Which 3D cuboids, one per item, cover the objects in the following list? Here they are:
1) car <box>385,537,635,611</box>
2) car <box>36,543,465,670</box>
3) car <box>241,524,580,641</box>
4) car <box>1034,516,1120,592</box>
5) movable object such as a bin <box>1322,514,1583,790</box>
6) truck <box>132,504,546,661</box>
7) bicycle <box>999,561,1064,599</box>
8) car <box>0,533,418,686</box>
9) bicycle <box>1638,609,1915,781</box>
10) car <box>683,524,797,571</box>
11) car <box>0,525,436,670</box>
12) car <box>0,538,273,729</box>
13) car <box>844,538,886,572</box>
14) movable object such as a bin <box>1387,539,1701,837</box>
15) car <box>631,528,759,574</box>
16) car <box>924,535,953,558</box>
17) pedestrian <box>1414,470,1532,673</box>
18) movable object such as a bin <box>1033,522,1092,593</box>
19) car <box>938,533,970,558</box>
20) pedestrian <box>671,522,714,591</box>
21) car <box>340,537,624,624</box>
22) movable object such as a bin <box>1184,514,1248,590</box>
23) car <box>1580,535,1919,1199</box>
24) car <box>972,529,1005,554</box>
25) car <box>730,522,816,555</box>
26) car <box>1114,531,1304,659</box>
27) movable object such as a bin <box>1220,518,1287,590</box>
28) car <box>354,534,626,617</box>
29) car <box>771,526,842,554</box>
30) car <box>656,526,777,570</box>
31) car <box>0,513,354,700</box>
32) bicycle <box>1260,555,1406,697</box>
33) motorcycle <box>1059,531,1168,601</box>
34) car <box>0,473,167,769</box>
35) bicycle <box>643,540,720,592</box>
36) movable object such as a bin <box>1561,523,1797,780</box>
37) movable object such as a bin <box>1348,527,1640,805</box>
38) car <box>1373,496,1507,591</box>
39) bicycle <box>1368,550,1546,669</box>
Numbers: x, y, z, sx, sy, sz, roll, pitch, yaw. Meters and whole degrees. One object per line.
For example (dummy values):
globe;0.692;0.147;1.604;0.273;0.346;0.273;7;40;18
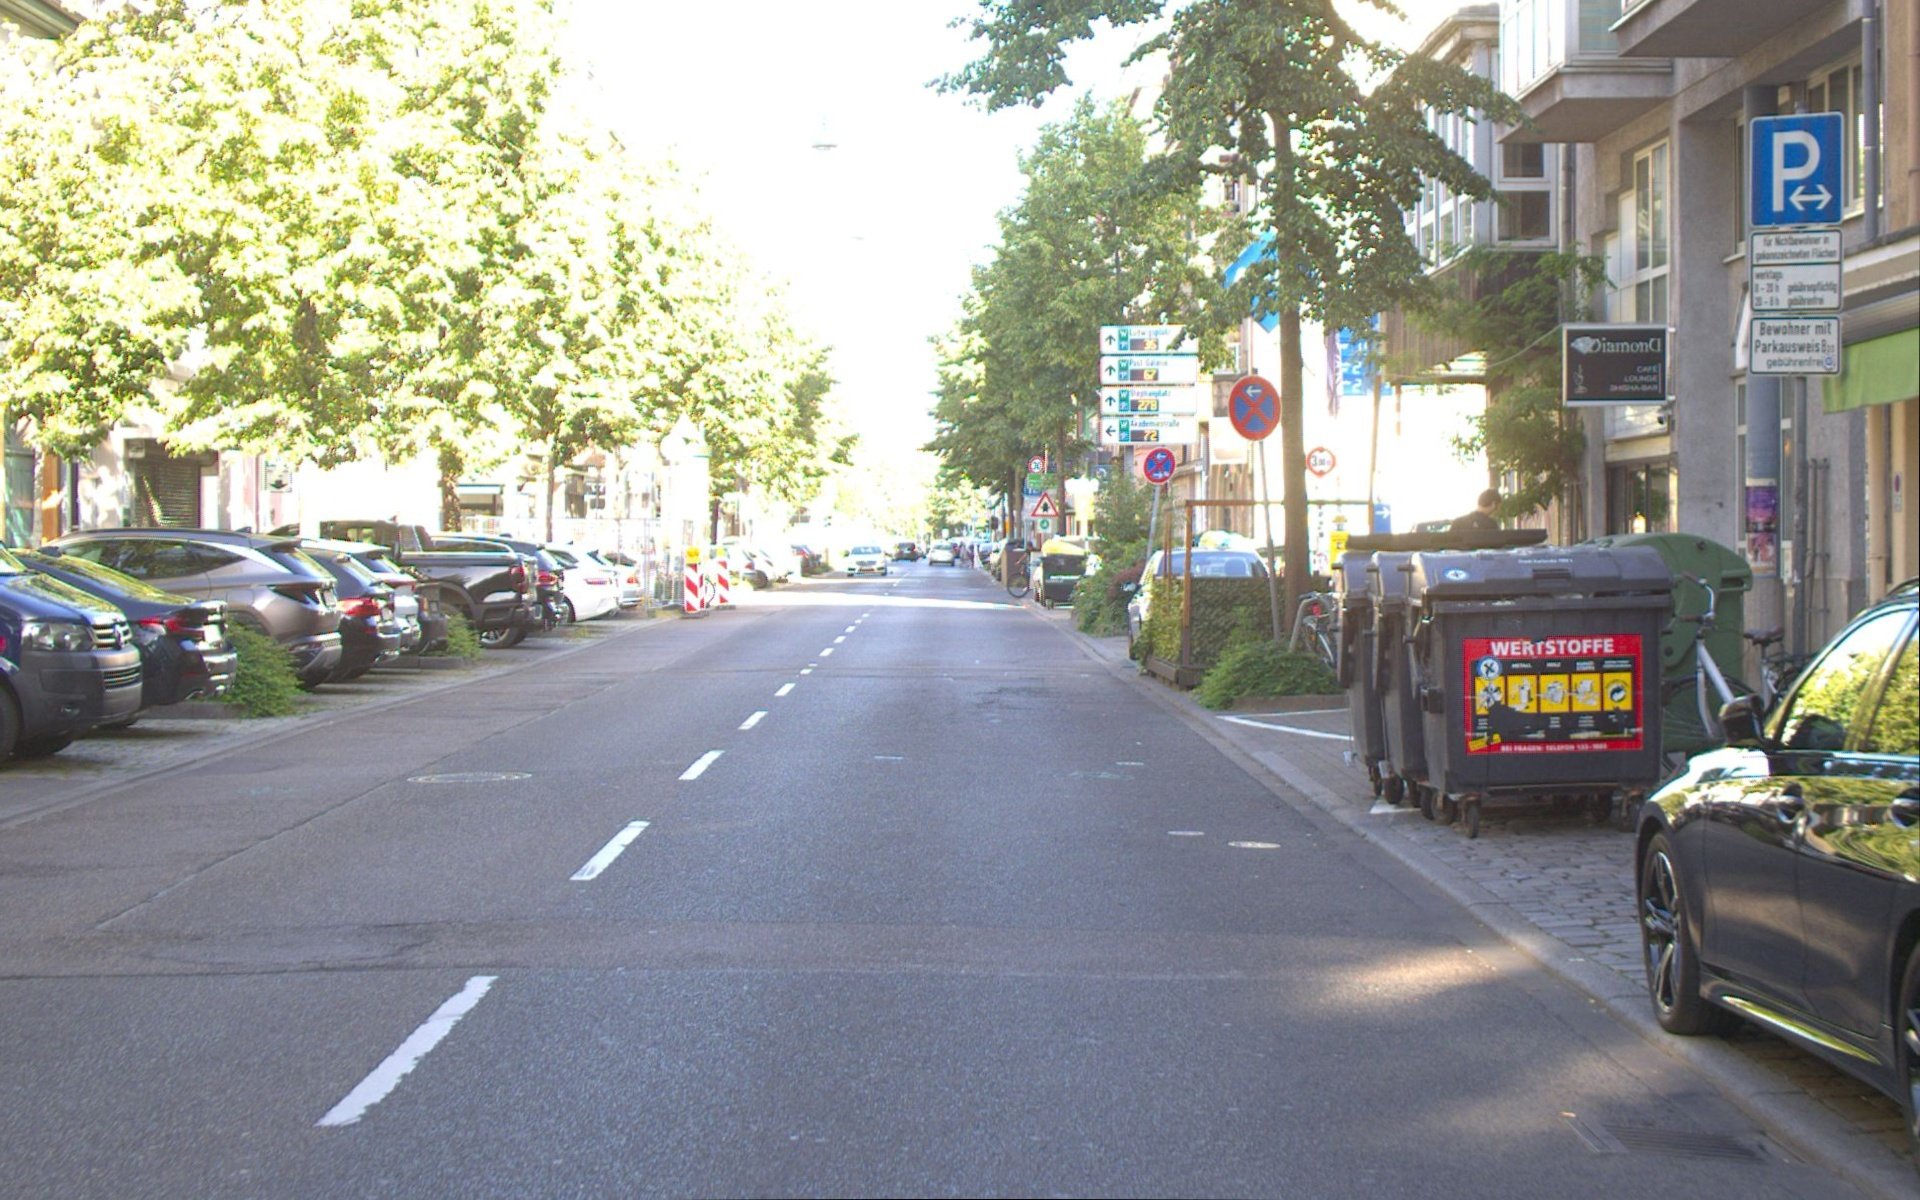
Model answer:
car;-8.668;-0.511;66.506;4.680;1.407;1.808;0;1;-3
car;-8.331;0.063;40.615;4.680;1.458;1.808;0;1;1
car;-8.066;-0.271;50.739;4.680;1.687;1.808;0;1;1
car;2.785;-1.113;82.497;1.822;1.673;4.601;-3;1;0
movable object such as a bin;2.842;0.280;19.986;1.330;1.537;1.146;-1;1;0
truck;-8.142;-0.247;45.438;5.084;1.931;2.000;-1;1;-1
bicycle;2.093;-0.592;100.173;0.768;1.055;1.951;0;2;43
car;-8.028;0.077;35.112;4.680;1.514;1.808;0;1;1
bicycle;4.364;0.496;18.485;0.568;0.869;1.642;-2;0;-23
car;-8.259;-1.983;129.137;3.987;1.688;2.000;-1;1;5
car;-8.296;-0.040;38.117;4.680;1.566;1.808;0;1;1
car;-7.881;0.240;26.972;4.645;1.454;1.684;0;1;0
car;-4.364;-2.082;158.020;1.802;1.430;4.410;-3;1;-1
movable object such as a bin;2.976;0.428;17.661;1.399;1.449;1.146;-1;1;0
car;-8.502;-1.576;110.440;3.987;1.385;2.000;-1;1;-1
car;-1.383;-3.426;220.385;1.792;1.406;4.000;-1;1;-1
pedestrian;4.959;-0.280;33.222;0.926;1.929;0.760;0;1;25
movable object such as a bin;2.335;-0.972;78.182;1.143;1.556;1.459;-1;1;8
car;-0.407;-3.396;213.874;1.822;1.386;4.301;-3;1;-1
pedestrian;-6.616;-1.084;84.965;0.792;1.701;0.767;0;1;-33
car;-8.118;-0.343;58.700;4.680;1.460;1.808;0;1;-3
movable object such as a bin;5.621;-1.068;75.607;1.205;1.622;1.498;-1;1;-2
car;3.043;0.577;9.101;1.822;1.467;4.912;-3;1;0
car;1.781;-3.659;215.374;1.993;1.503;4.000;0;1;-1
car;-8.820;-2.923;162.667;3.987;1.494;2.000;-1;1;-1
car;3.005;-0.105;42.388;1.901;1.407;4.647;-2;1;-1
movable object such as a bin;6.337;-1.000;74.239;1.270;1.525;1.177;-1;1;-2
car;-8.360;-0.442;61.411;4.680;1.460;1.808;0;1;-3
car;-8.787;-3.435;196.866;3.987;1.494;2.000;-1;1;-1
car;-8.212;-1.766;116.225;3.987;1.385;2.000;-1;1;-1
car;-8.207;0.040;32.315;4.680;1.706;1.808;0;1;1
bicycle;3.256;0.207;30.194;0.607;1.116;2.056;-8;2;-9
motorcycle;3.023;-0.676;67.848;1.977;1.325;0.912;-1;1;-12
car;-8.022;0.121;23.622;4.680;1.943;1.916;0;1;1
bicycle;-6.826;-0.831;84.294;1.854;1.248;0.600;0;1;-8
movable object such as a bin;4.150;0.278;19.956;1.077;1.426;1.295;-1;1;0
movable object such as a bin;2.898;0.340;18.823;1.399;1.449;1.146;-1;1;0
car;8.804;-1.054;63.369;1.901;1.642;4.293;-1;1;1
bicycle;4.904;0.082;33.982;0.680;1.145;1.684;-2;2;-42
